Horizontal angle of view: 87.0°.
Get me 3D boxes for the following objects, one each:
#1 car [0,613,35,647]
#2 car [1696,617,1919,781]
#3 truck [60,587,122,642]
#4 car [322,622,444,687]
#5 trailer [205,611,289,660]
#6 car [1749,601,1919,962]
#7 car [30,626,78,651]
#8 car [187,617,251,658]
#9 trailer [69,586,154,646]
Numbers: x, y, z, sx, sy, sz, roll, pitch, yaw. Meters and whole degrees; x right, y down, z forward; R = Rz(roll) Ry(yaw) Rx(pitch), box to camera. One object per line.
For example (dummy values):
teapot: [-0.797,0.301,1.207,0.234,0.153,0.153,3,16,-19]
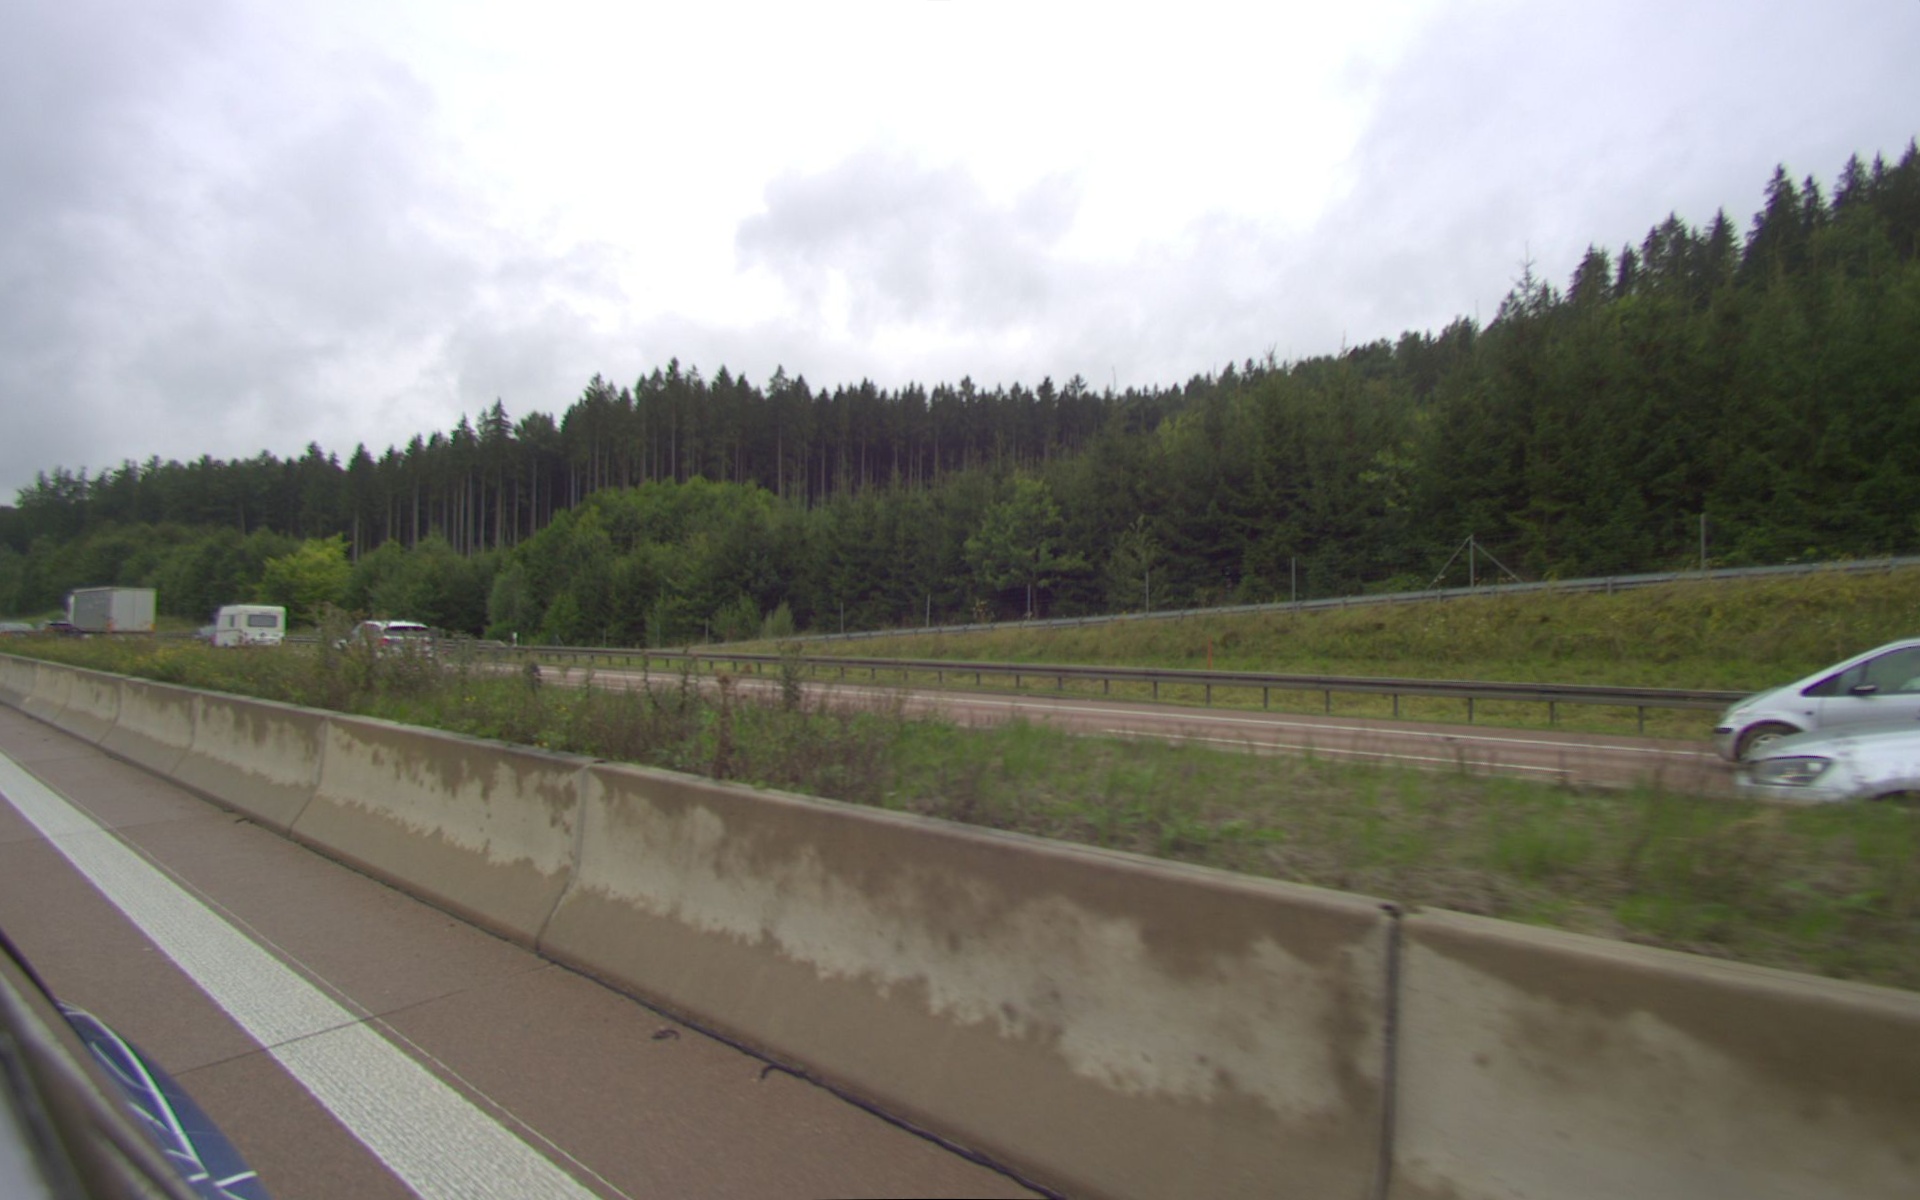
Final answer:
car: [-50.898,1.581,54.099,4.474,1.678,1.652,0,0,41]
car: [10.431,1.004,10.385,4.523,1.587,1.973,0,-1,41]
truck: [-68.708,1.108,80.013,5.998,4.207,2.740,0,-2,41]
car: [-17.412,1.574,30.443,4.708,1.678,1.845,0,1,42]
trailer: [-37.191,1.873,52.727,5.434,2.430,2.253,-2,-4,41]
car: [6.535,0.921,4.785,4.409,1.798,1.685,0,1,39]
car: [-61.091,2.592,68.209,5.674,1.569,1.674,-1,-3,41]
car: [-41.001,2.079,55.959,4.425,2.169,1.740,-1,-3,40]
trailer: [-63.199,1.135,75.251,12.748,4.171,2.711,0,-2,41]
